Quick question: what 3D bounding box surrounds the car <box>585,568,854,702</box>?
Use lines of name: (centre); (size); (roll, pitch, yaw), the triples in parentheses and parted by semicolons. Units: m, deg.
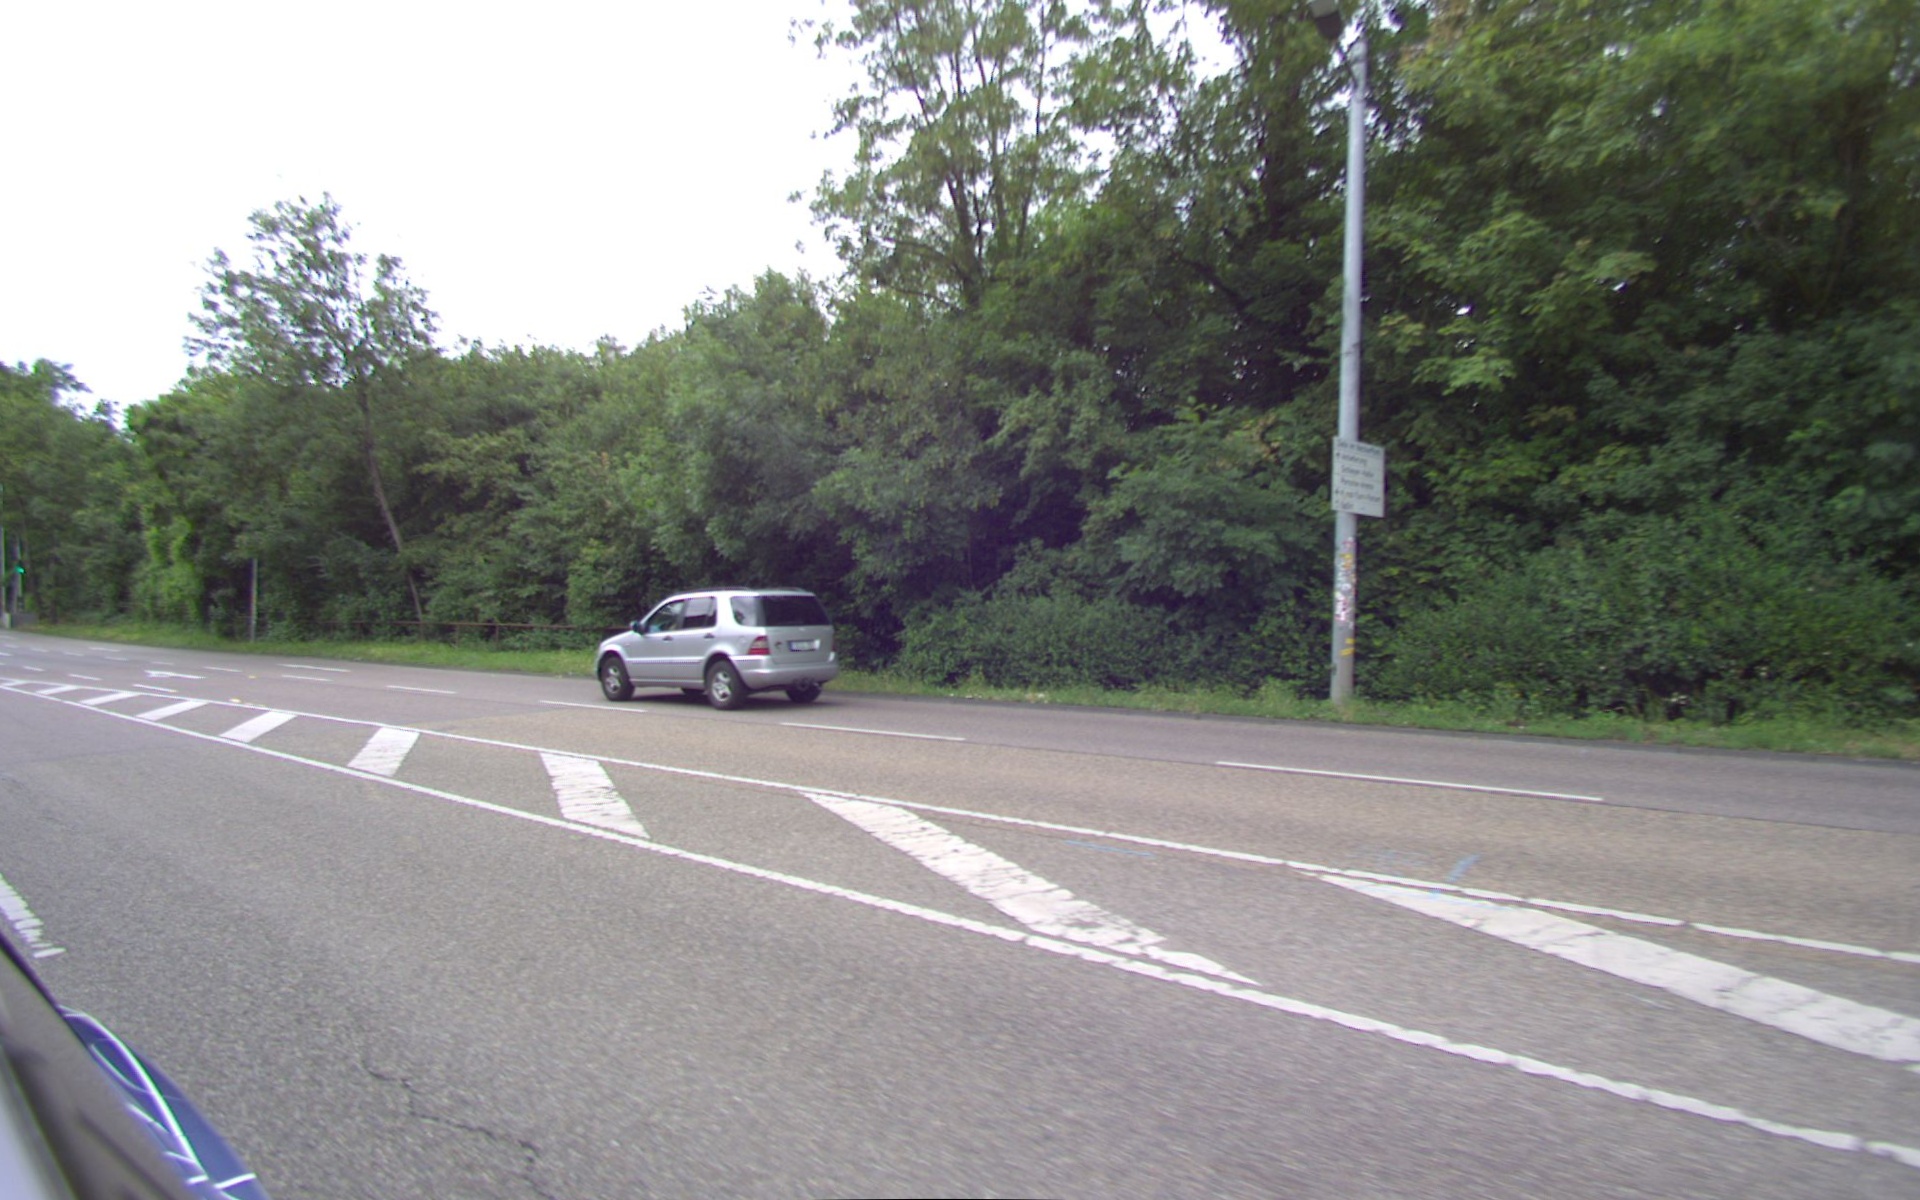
car: (-3.890, 0.522, 16.006); (4.376, 1.844, 1.796); (-1, -1, 37)
